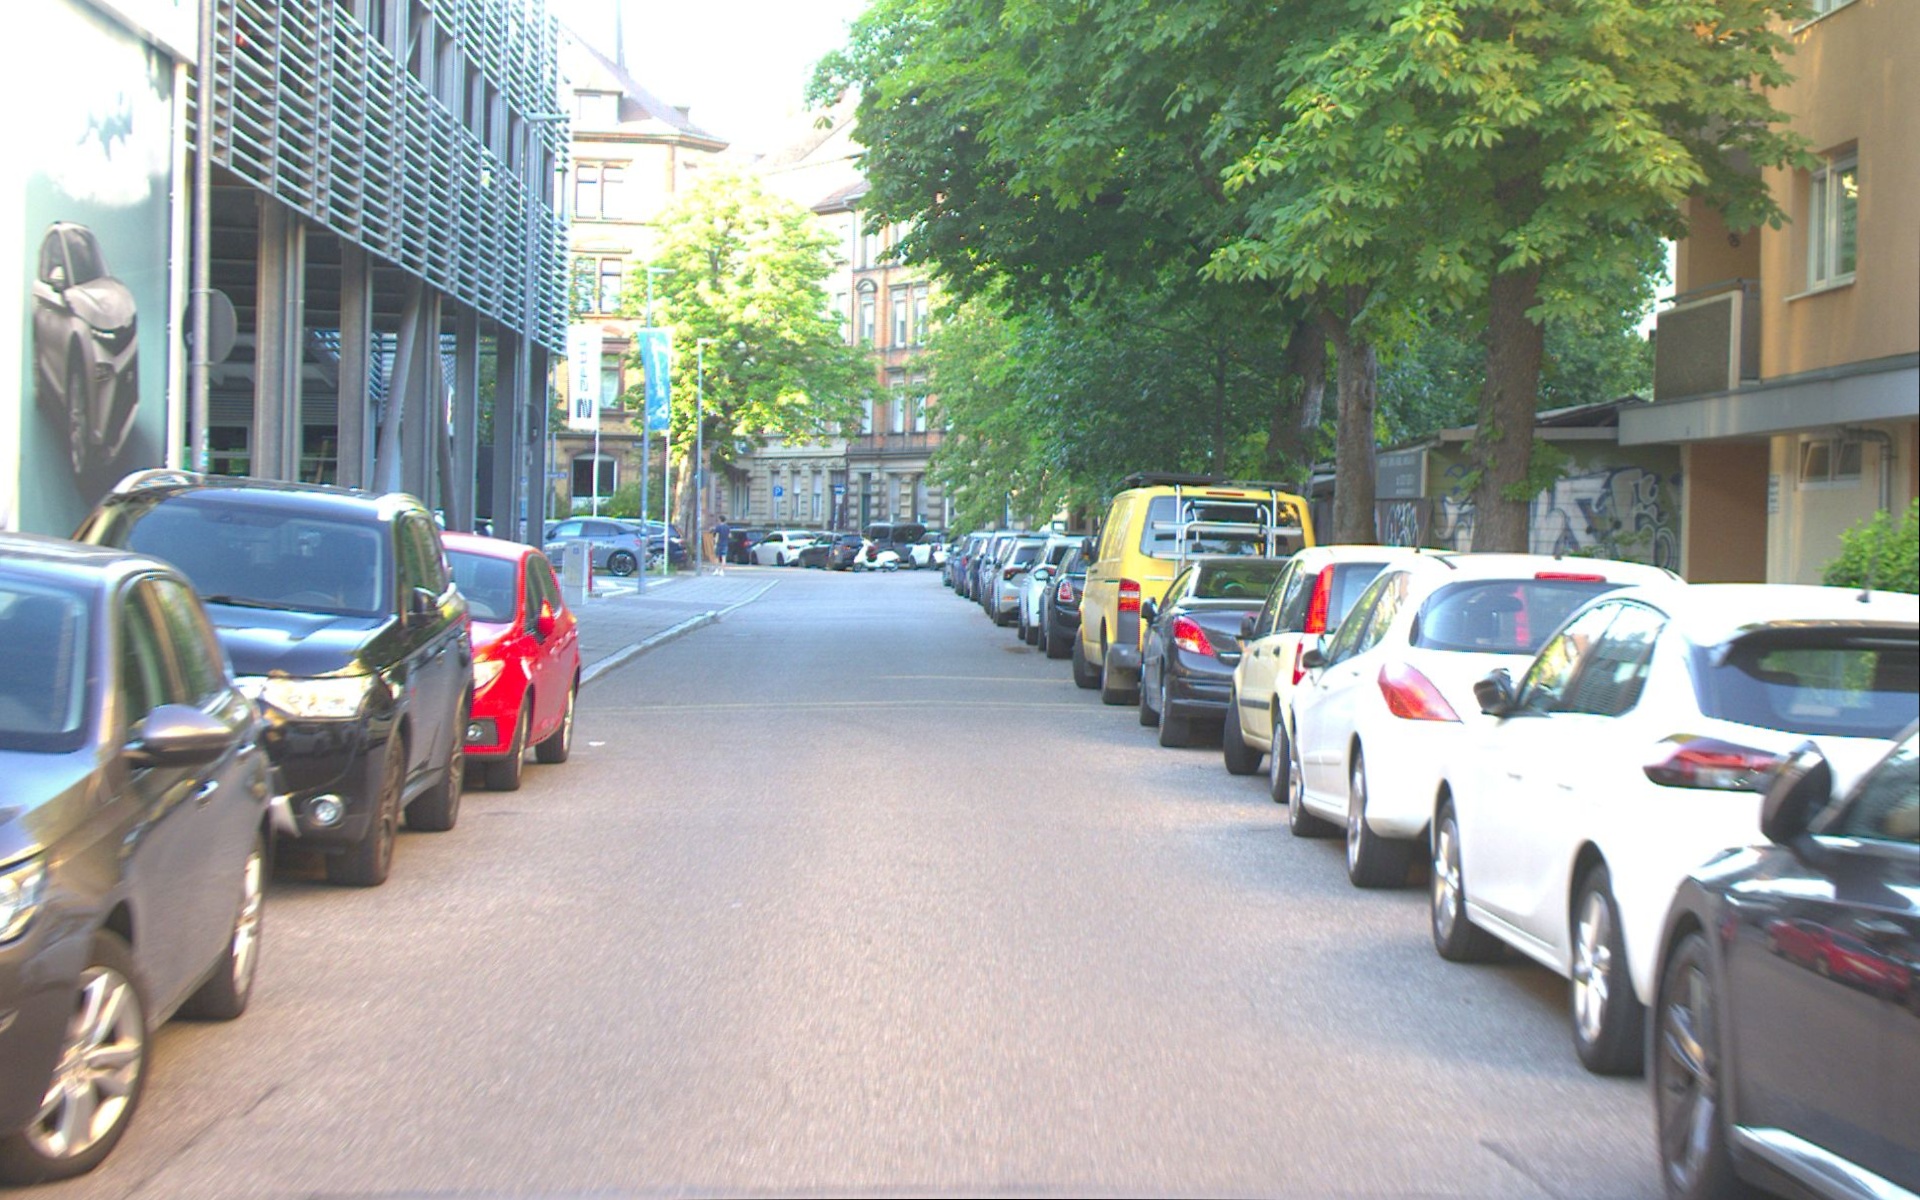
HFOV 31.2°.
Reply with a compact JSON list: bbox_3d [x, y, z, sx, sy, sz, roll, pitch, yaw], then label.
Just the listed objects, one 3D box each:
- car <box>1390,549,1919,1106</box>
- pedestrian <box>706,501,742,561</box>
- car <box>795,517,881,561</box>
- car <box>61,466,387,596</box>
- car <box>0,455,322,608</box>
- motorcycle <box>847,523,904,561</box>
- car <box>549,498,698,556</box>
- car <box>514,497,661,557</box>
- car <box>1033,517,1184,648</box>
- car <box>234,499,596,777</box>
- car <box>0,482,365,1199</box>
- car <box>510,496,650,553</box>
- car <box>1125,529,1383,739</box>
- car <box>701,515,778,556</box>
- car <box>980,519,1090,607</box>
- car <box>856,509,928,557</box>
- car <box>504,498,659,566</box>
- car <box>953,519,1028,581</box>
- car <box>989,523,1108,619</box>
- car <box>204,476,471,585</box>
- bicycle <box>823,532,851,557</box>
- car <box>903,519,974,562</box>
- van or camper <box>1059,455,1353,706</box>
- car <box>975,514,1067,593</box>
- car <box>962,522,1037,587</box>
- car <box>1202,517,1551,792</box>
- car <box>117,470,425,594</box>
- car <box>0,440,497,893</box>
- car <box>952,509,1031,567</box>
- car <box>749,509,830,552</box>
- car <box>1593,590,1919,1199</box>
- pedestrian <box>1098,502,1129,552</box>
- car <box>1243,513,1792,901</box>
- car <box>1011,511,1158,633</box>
[{"bbox_3d":[2.570,0.607,11.524,1.609,1.456,4.055,1,2,-2],"label":"car"},{"bbox_3d":[-7.179,-2.100,104.563,0.735,1.797,1.122,0,2,-22],"label":"pedestrian"},{"bbox_3d":[-4.490,-2.244,125.991,1.654,1.426,3.991,1,3,-25],"label":"car"},{"bbox_3d":[-10.163,-0.974,47.681,4.103,1.678,1.860,1,2,0],"label":"car"},{"bbox_3d":[-9.716,-0.829,40.543,4.025,1.678,1.860,1,2,0],"label":"car"},{"bbox_3d":[-3.015,-2.069,122.769,1.931,1.336,0.577,1,2,-11],"label":"motorcycle"},{"bbox_3d":[-11.231,-2.442,114.553,4.828,1.726,1.921,2,2,-7],"label":"car"},{"bbox_3d":[-10.698,-2.100,98.901,4.066,1.612,1.766,1,2,-3],"label":"car"},{"bbox_3d":[1.774,-0.242,41.943,1.563,1.445,3.454,1,2,-2],"label":"car"},{"bbox_3d":[-3.227,0.158,20.996,1.697,1.500,3.791,1,2,-2],"label":"car"},{"bbox_3d":[-2.927,0.499,9.086,1.937,1.591,4.205,1,2,0],"label":"car"},{"bbox_3d":[-11.369,-2.269,103.067,4.044,1.470,1.921,3,2,-5],"label":"car"},{"bbox_3d":[2.175,0.200,26.337,1.606,1.377,4.001,1,2,0],"label":"car"},{"bbox_3d":[-8.678,-2.538,134.846,1.654,1.426,3.897,1,3,-25],"label":"car"},{"bbox_3d":[1.331,-0.701,62.640,1.759,1.449,4.393,1,2,-2],"label":"car"},{"bbox_3d":[-2.658,-2.636,134.597,1.674,1.776,3.016,1,2,-25],"label":"car"},{"bbox_3d":[-10.516,-1.899,95.714,4.129,1.612,1.914,3,2,-3],"label":"car"},{"bbox_3d":[0.741,-1.257,85.564,1.695,1.471,4.118,1,1,-2],"label":"car"},{"bbox_3d":[1.449,-0.512,57.679,1.759,1.437,4.006,1,2,-2],"label":"car"},{"bbox_3d":[-10.291,-1.170,57.029,4.087,1.678,1.860,1,2,0],"label":"car"},{"bbox_3d":[-4.318,-1.952,120.634,0.425,0.819,1.461,2,2,21],"label":"bicycle"},{"bbox_3d":[-0.827,-2.262,131.176,1.674,1.520,2.768,1,2,-25],"label":"car"},{"bbox_3d":[2.159,-0.267,31.654,2.064,2.088,5.092,1,2,-3],"label":"van or camper"},{"bbox_3d":[1.274,-1.016,73.430,1.759,1.598,3.874,1,1,-2],"label":"car"},{"bbox_3d":[0.914,-1.094,80.937,1.596,1.471,3.774,1,1,-2],"label":"car"},{"bbox_3d":[2.491,0.269,21.274,1.609,1.505,3.478,1,2,-2],"label":"car"},{"bbox_3d":[-10.022,-1.010,50.178,4.103,1.678,1.860,1,2,0],"label":"car"},{"bbox_3d":[-3.208,0.191,15.665,1.697,1.750,4.404,1,2,-2],"label":"car"},{"bbox_3d":[0.807,-1.632,90.112,1.695,1.471,3.560,1,1,-5],"label":"car"},{"bbox_3d":[-6.502,-2.654,130.494,1.654,1.426,4.168,1,3,-23],"label":"car"},{"bbox_3d":[2.516,0.772,6.006,1.809,1.412,4.626,1,2,-2],"label":"car"},{"bbox_3d":[5.623,-2.671,125.663,0.840,1.797,0.776,0,2,-22],"label":"pedestrian"},{"bbox_3d":[2.496,0.395,16.422,1.791,1.557,4.194,1,2,-2],"label":"car"},{"bbox_3d":[1.667,-0.418,47.297,1.722,1.514,4.026,1,2,-2],"label":"car"}]
